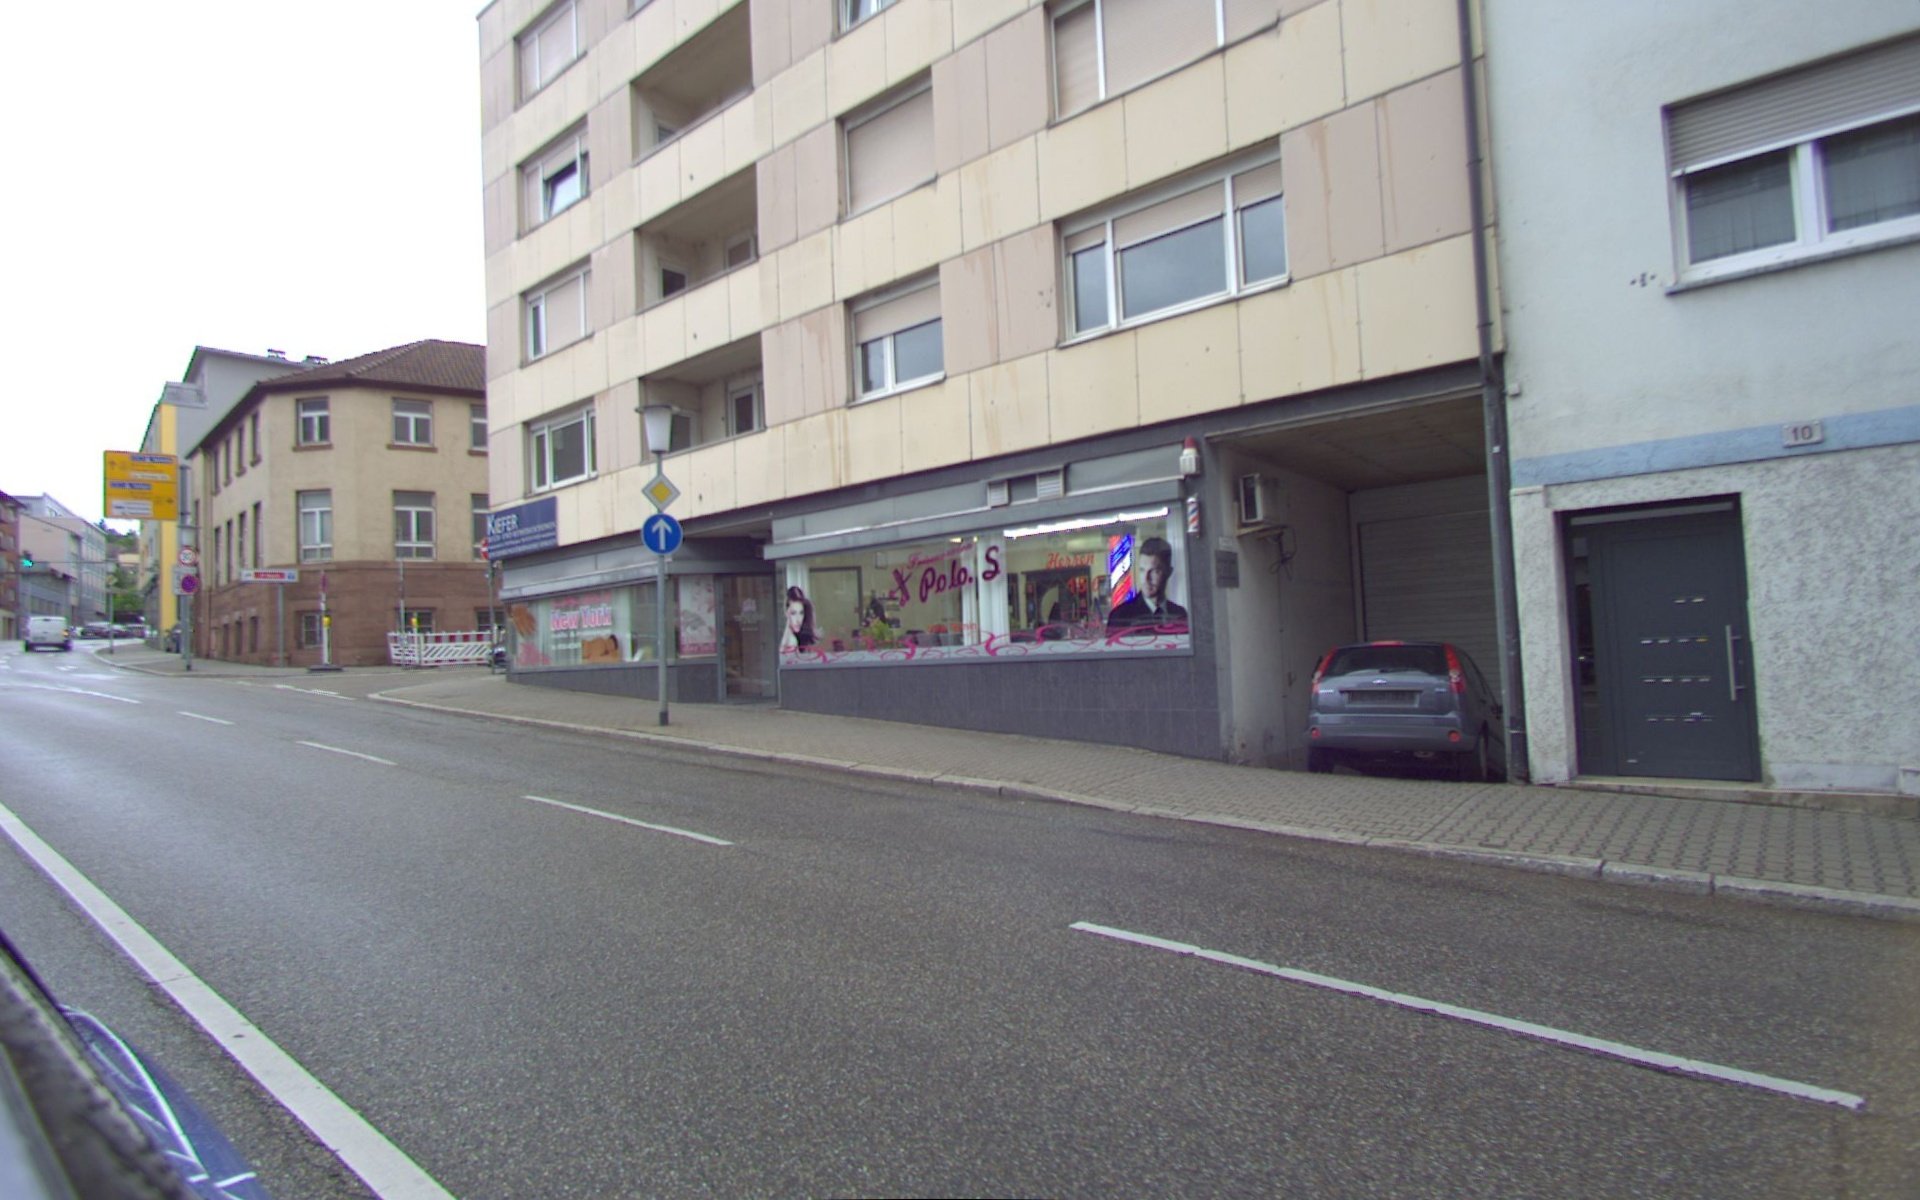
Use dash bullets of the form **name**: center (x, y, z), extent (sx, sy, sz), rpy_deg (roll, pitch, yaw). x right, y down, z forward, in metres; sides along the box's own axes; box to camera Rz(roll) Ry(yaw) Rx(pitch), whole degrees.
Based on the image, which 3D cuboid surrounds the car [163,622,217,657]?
- **car**: center (-36.653, 1.879, 48.160), extent (1.834, 1.465, 3.969), rpy_deg (-3, 1, -39)

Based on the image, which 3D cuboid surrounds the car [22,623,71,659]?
- **car**: center (-48.748, 2.170, 54.052), extent (1.839, 1.817, 4.271), rpy_deg (2, -3, -42)

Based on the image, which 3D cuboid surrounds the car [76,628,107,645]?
- **car**: center (-78.721, 3.304, 91.770), extent (1.833, 1.465, 4.328), rpy_deg (1, -2, -36)

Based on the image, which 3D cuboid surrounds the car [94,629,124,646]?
- **car**: center (-72.761, 3.192, 86.586), extent (1.834, 1.465, 4.326), rpy_deg (1, -2, -39)

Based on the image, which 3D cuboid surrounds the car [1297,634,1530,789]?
- **car**: center (5.083, 1.280, 11.064), extent (1.674, 1.361, 3.954), rpy_deg (-3, -9, 33)

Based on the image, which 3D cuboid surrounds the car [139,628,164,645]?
- **car**: center (-83.595, 3.759, 104.654), extent (1.833, 1.711, 4.327), rpy_deg (3, -3, -38)

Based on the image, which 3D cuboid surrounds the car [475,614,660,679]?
- **car**: center (-10.519, 1.197, 27.298), extent (4.296, 1.515, 1.757), rpy_deg (-1, 0, -39)

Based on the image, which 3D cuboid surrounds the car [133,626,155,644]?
- **car**: center (-89.693, 3.829, 111.300), extent (1.820, 1.918, 3.772), rpy_deg (0, -1, -39)
